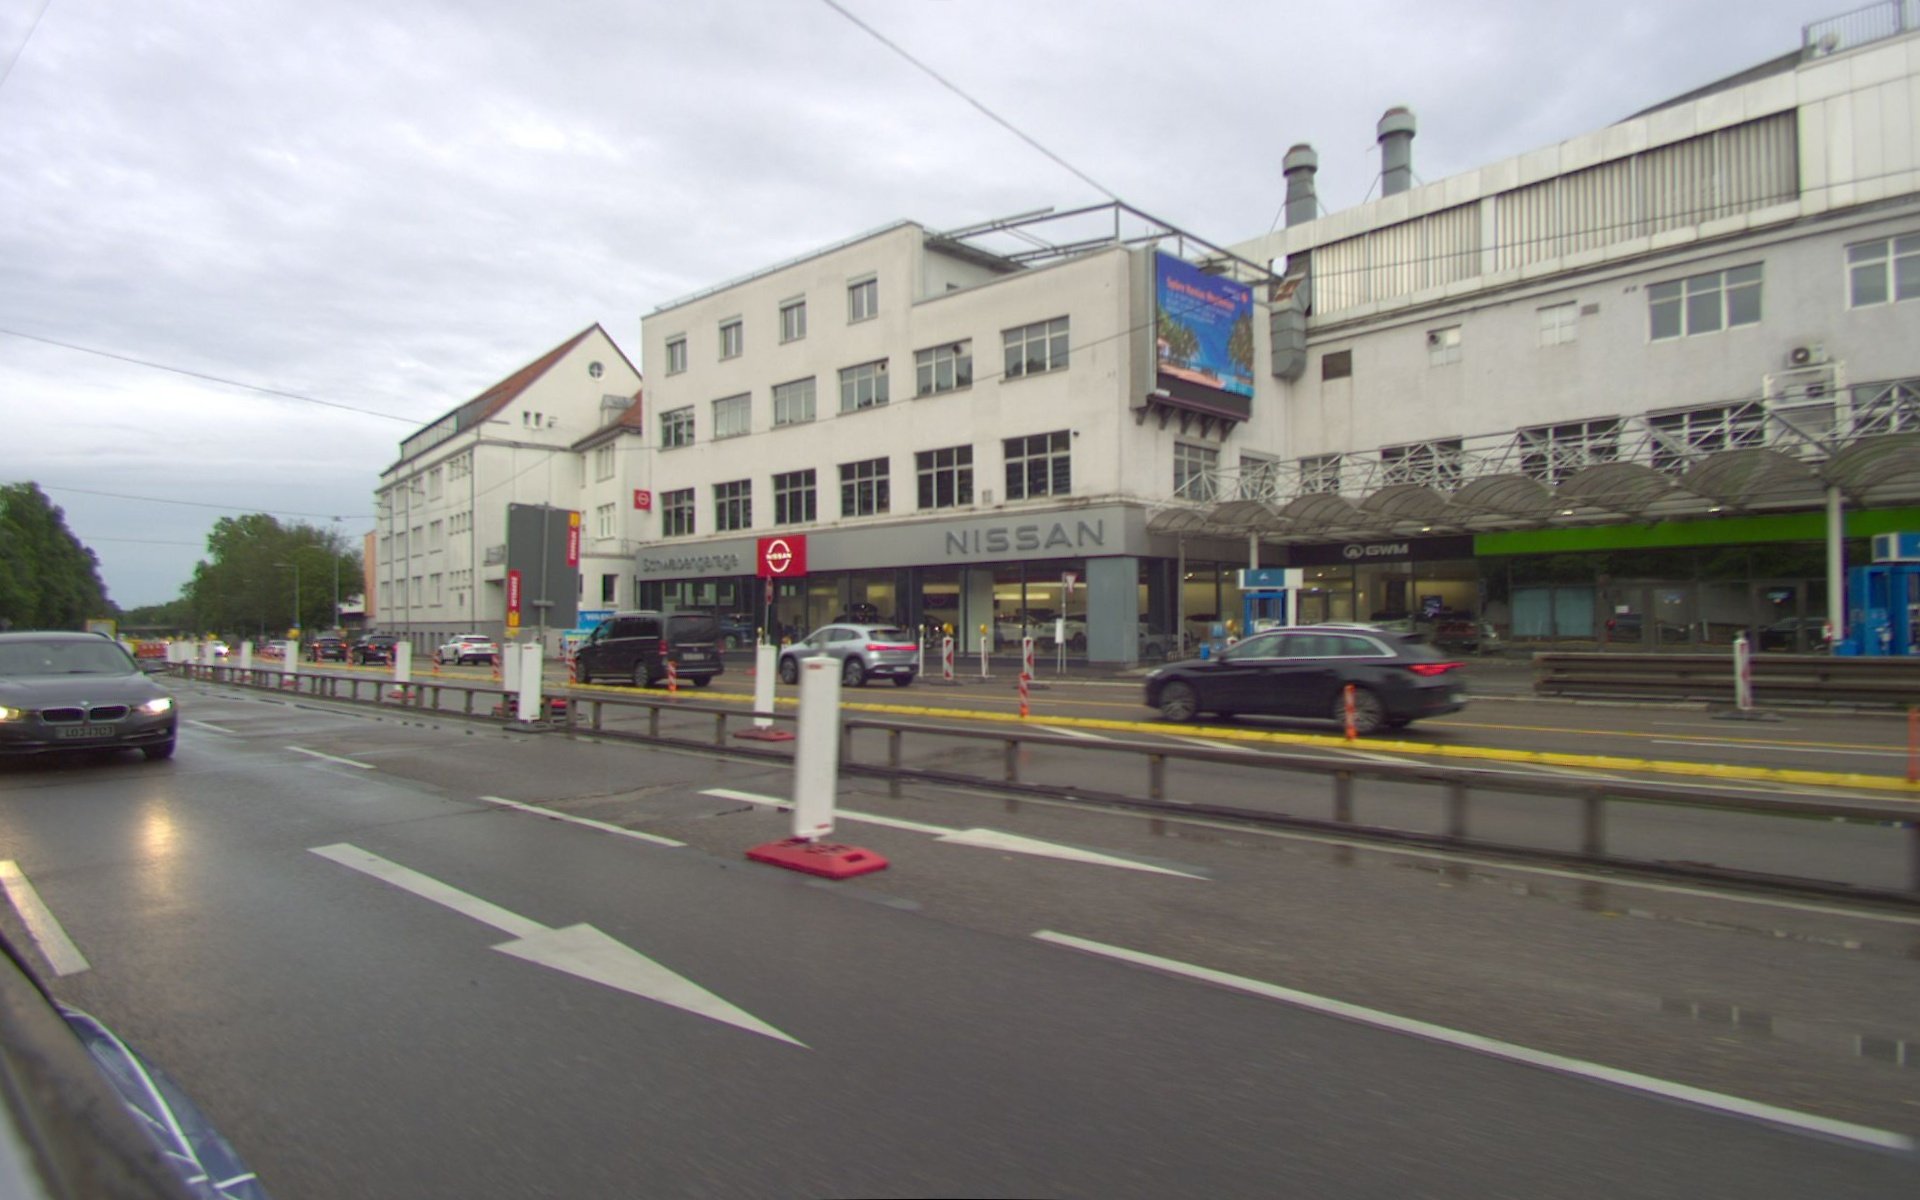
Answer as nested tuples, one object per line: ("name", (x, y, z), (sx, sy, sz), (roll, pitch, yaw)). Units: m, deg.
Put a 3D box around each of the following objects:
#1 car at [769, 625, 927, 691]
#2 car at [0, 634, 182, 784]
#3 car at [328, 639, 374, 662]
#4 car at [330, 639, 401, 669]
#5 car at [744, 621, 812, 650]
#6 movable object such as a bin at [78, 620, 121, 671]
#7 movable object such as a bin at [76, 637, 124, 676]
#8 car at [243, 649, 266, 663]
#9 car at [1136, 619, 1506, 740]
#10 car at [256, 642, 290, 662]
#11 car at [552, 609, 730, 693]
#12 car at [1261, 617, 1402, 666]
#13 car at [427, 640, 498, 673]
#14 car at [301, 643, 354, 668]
("car", (-2.982, 1.466, 26.425), (4.263, 1.597, 1.728), (-2, -3, 42))
("car", (-10.628, 1.158, 11.734), (4.175, 1.461, 1.741), (-3, -3, 41))
("car", (-40.067, 3.281, 66.542), (1.714, 1.425, 3.711), (2, -3, -45))
("car", (-29.118, 2.597, 49.525), (4.813, 1.362, 1.777), (-2, -3, 44))
("car", (-11.563, 2.263, 64.433), (3.902, 1.845, 1.792), (2, -3, -41))
("movable object such as a bin", (-51.232, 2.727, 60.223), (1.800, 2.935, 3.612), (2, -4, -41))
("movable object such as a bin", (-48.094, 3.149, 56.568), (1.969, 2.128, 3.854), (2, -4, -41))
("car", (-86.865, 6.899, 124.577), (1.968, 1.597, 4.217), (2, -4, -40))
("car", (5.054, 1.052, 14.613), (4.705, 1.477, 1.832), (-2, -3, 41))
("car", (-54.906, 4.152, 80.887), (1.680, 1.475, 4.122), (4, -5, -42))
("car", (-8.326, 1.282, 26.146), (5.229, 1.951, 1.972), (-2, -3, 41))
("car", (12.170, 1.353, 33.282), (3.967, 1.494, 1.793), (-2, -3, 43))
("car", (-24.516, 2.740, 49.816), (1.763, 1.519, 4.524), (2, -3, -45))
("car", (-37.140, 3.240, 59.375), (3.806, 1.398, 1.777), (-2, -3, 44))
